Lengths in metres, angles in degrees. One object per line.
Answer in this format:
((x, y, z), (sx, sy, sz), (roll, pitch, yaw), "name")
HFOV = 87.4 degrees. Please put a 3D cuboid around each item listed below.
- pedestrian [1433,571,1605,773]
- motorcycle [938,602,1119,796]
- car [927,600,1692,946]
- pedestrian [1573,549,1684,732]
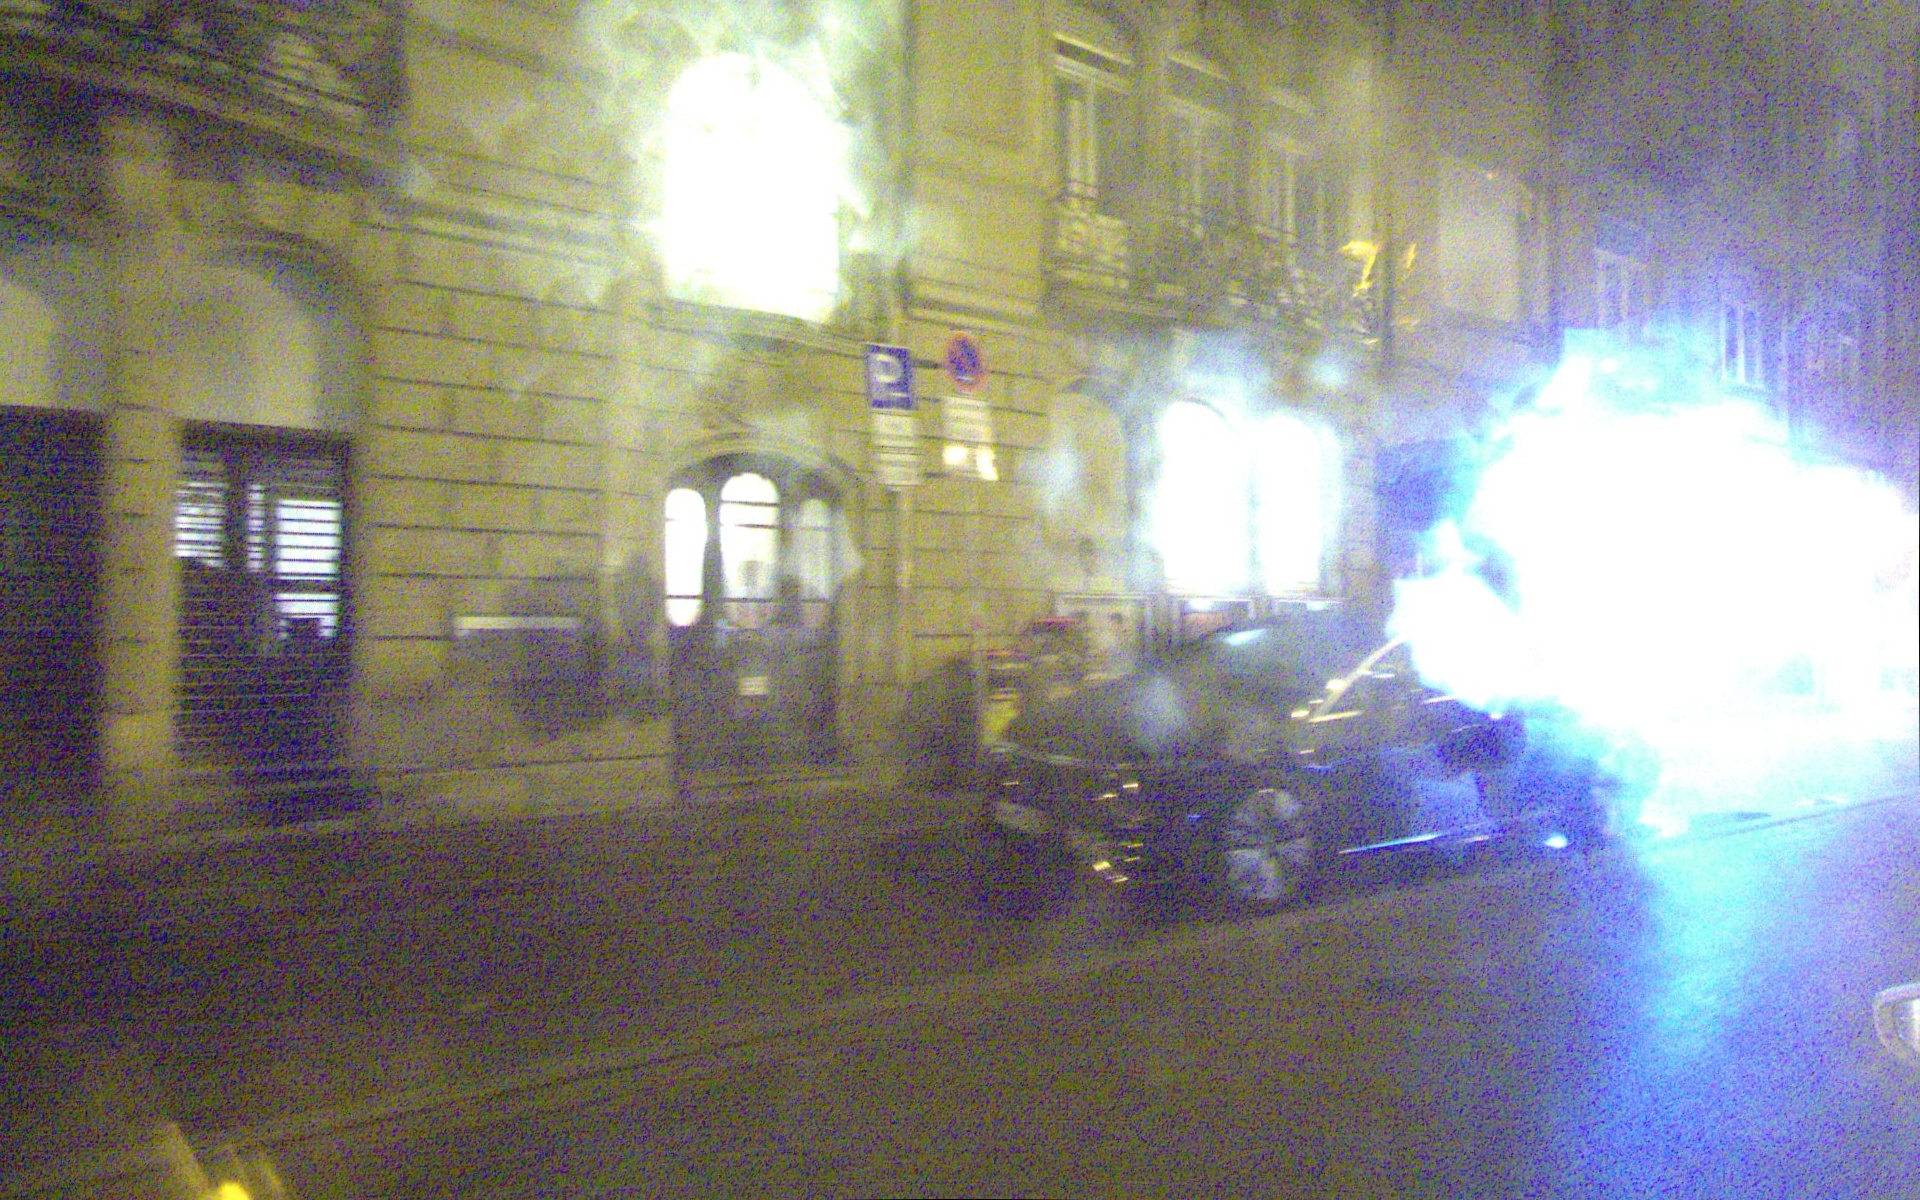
((5.663, 0.692, 10.190), (1.399, 1.888, 0.951), (1, -2, -31), "pedestrian")
((0.584, 0.777, 8.340), (1.441, 1.490, 0.534), (1, 0, -31), "motorcycle")
((2.403, 0.799, 6.414), (4.971, 1.498, 1.838), (1, -1, -30), "car")
((8.723, 0.520, 13.114), (1.104, 2.270, 0.795), (1, -1, -31), "pedestrian")
